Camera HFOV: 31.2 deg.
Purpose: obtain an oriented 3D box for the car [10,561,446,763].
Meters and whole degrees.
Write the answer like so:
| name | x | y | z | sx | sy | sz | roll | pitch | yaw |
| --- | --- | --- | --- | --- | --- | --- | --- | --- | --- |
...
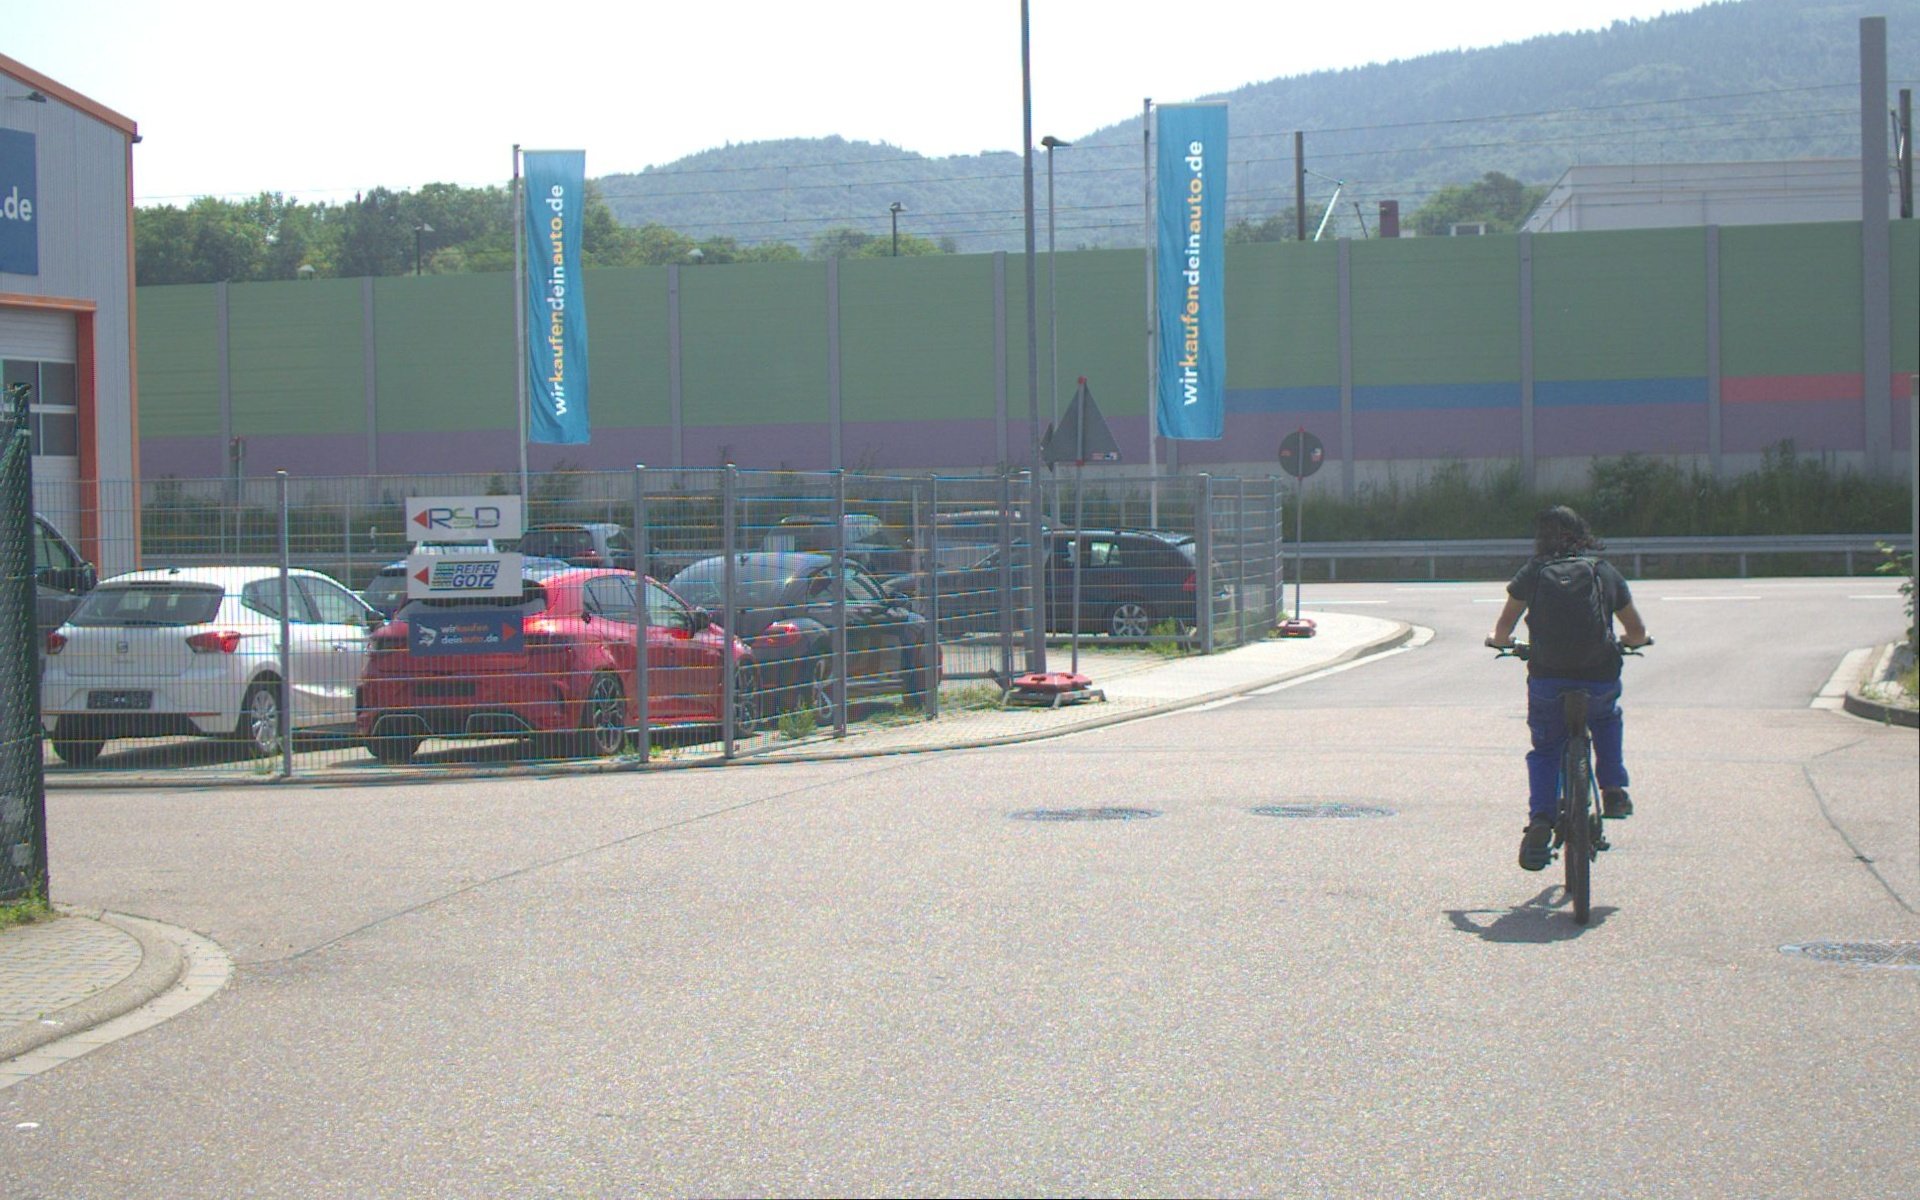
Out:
| name | x | y | z | sx | sy | sz | roll | pitch | yaw |
| --- | --- | --- | --- | --- | --- | --- | --- | --- | --- |
| car | -5.627 | 0.435 | 26.856 | 1.747 | 1.400 | 3.600 | 0 | 1 | 18 |

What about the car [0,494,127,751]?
| name | x | y | z | sx | sy | sz | roll | pitch | yaw |
| --- | --- | --- | --- | --- | --- | --- | --- | --- | --- |
| car | -8.617 | 0.195 | 26.934 | 1.952 | 2.023 | 4.514 | 0 | 1 | 18 |

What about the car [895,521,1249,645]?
| name | x | y | z | sx | sy | sz | roll | pitch | yaw |
| --- | --- | --- | --- | --- | --- | --- | --- | --- | --- |
| car | 1.424 | -0.214 | 43.224 | 3.991 | 1.487 | 1.998 | 0 | 1 | 22 |

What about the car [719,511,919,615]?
| name | x | y | z | sx | sy | sz | roll | pitch | yaw |
| --- | --- | --- | --- | --- | --- | --- | --- | --- | --- |
| car | -2.210 | -0.611 | 55.017 | 1.995 | 1.576 | 3.997 | 0 | 1 | 16 |

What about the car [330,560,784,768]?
| name | x | y | z | sx | sy | sz | roll | pitch | yaw |
| --- | --- | --- | --- | --- | --- | --- | --- | --- | --- |
| car | -2.957 | 0.430 | 26.192 | 1.871 | 1.382 | 4.110 | 0 | 1 | 18 |

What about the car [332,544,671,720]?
| name | x | y | z | sx | sy | sz | roll | pitch | yaw |
| --- | --- | --- | --- | --- | --- | --- | --- | --- | --- |
| car | -4.079 | 0.246 | 31.172 | 1.485 | 1.449 | 3.891 | 0 | 1 | 18 |

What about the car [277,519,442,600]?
| name | x | y | z | sx | sy | sz | roll | pitch | yaw |
| --- | --- | --- | --- | --- | --- | --- | --- | --- | --- |
| car | -12.747 | -0.887 | 73.165 | 1.700 | 1.651 | 3.996 | 0 | 1 | 19 |

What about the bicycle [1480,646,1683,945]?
| name | x | y | z | sx | sy | sz | roll | pitch | yaw |
| --- | --- | --- | --- | --- | --- | --- | --- | --- | --- |
| bicycle | 2.445 | 0.739 | 13.689 | 0.685 | 1.048 | 1.900 | -1 | 1 | 7 |

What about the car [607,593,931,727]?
| name | x | y | z | sx | sy | sz | roll | pitch | yaw |
| --- | --- | --- | --- | --- | --- | --- | --- | --- | --- |
| car | -1.619 | 0.494 | 30.577 | 1.485 | 1.003 | 4.110 | 0 | 1 | 18 |

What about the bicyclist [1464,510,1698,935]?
| name | x | y | z | sx | sy | sz | roll | pitch | yaw |
| --- | --- | --- | --- | --- | --- | --- | --- | --- | --- |
| bicyclist | 2.443 | 0.461 | 13.635 | 0.842 | 1.613 | 1.039 | 0 | 0 | 7 |

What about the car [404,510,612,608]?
| name | x | y | z | sx | sy | sz | roll | pitch | yaw |
| --- | --- | --- | --- | --- | --- | --- | --- | --- | --- |
| car | -7.553 | -0.712 | 57.810 | 1.995 | 1.576 | 3.997 | 0 | 1 | 16 |
